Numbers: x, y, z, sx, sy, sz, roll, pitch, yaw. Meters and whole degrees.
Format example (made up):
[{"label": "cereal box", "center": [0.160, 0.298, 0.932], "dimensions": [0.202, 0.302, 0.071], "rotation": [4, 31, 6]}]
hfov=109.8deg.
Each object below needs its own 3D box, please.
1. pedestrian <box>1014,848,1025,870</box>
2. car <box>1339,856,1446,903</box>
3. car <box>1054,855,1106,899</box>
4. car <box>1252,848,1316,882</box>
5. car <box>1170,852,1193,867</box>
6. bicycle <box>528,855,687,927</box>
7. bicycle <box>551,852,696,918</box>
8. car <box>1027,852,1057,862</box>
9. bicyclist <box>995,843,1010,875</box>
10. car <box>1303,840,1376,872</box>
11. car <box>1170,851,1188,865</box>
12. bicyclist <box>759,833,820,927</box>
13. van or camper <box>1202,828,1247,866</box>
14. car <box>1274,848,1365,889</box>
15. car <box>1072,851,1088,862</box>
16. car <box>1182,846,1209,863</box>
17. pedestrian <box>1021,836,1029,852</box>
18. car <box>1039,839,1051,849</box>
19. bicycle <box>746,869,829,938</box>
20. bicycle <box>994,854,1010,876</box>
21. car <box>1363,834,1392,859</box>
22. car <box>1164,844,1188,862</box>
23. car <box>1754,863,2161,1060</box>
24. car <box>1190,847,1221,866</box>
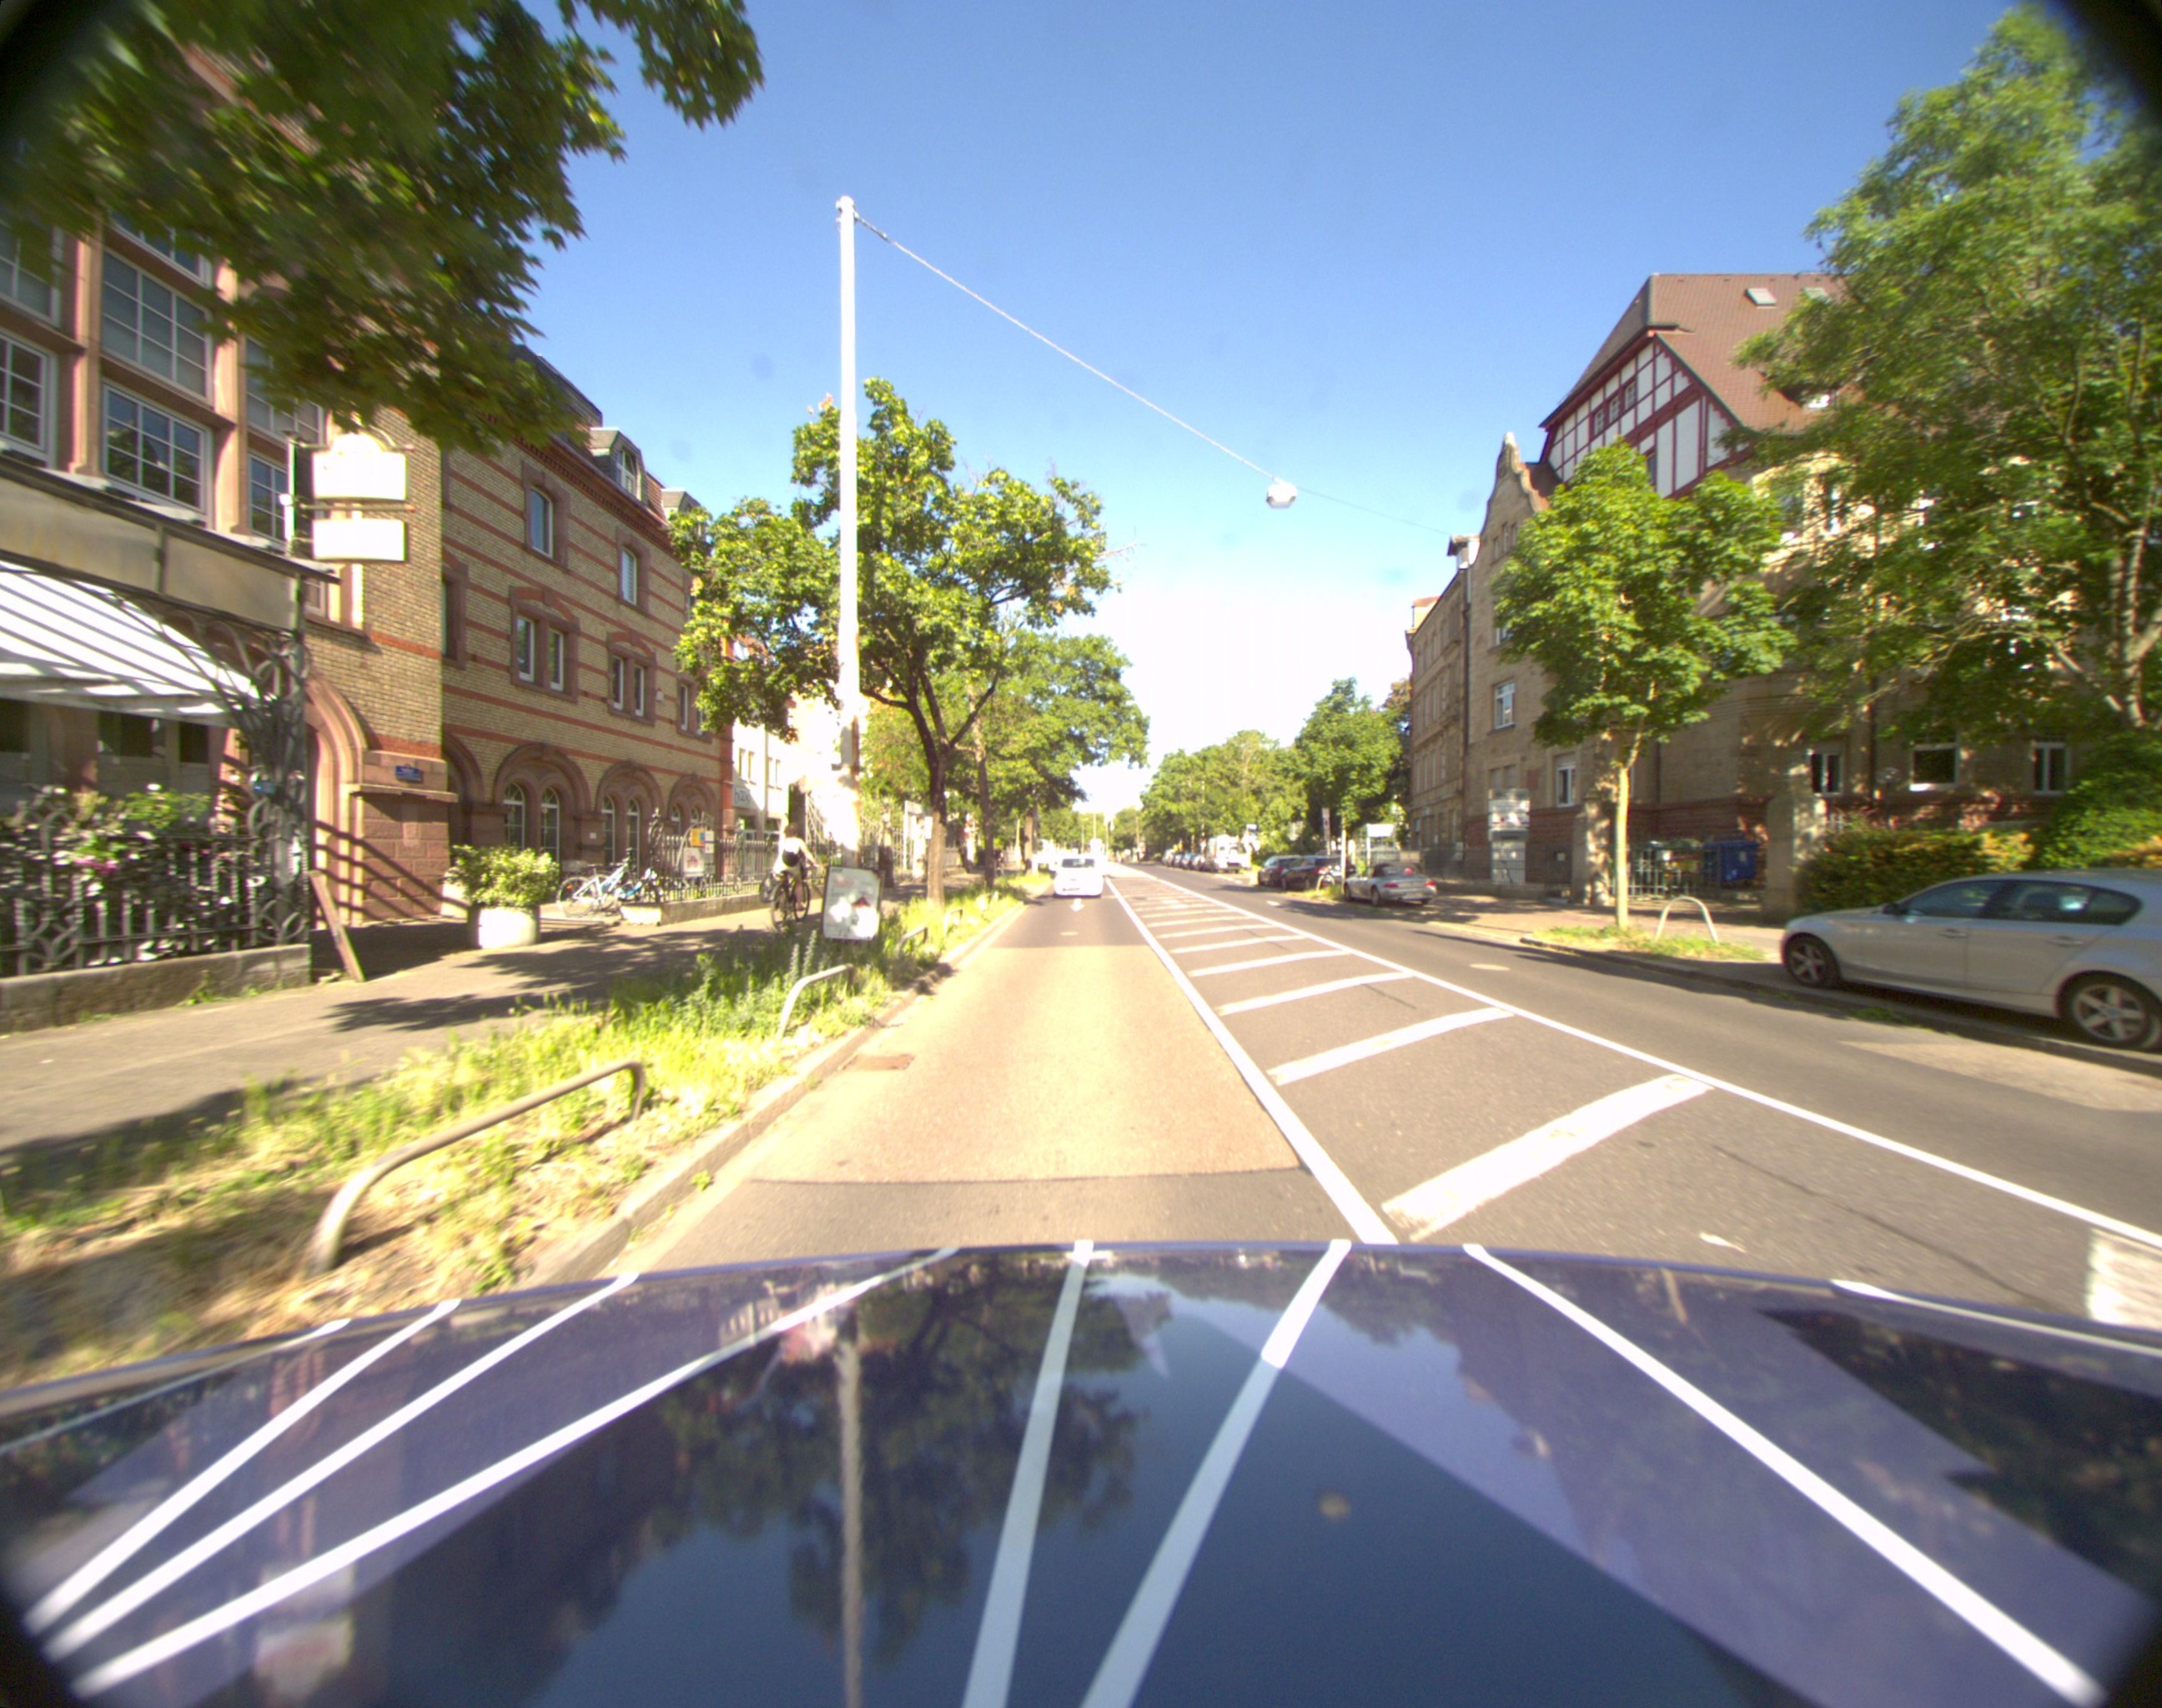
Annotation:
[{"label": "pedestrian", "center": [-5.092, 0.391, 63.382], "dimensions": [0.749, 1.777, 0.811], "rotation": [3, 1, 1]}, {"label": "car", "center": [9.340, 0.723, 23.143], "dimensions": [1.682, 1.248, 4.014], "rotation": [-1, 0, 1]}, {"label": "car", "center": [0.027, 0.758, 27.376], "dimensions": [1.652, 1.449, 3.897], "rotation": [0, 0, 3]}, {"label": "car", "center": [9.727, 0.497, 36.746], "dimensions": [1.860, 1.419, 4.720], "rotation": [-3, 0, 1]}, {"label": "car", "center": [10.561, 0.530, 79.797], "dimensions": [1.594, 1.474, 4.270], "rotation": [2, 1, -3]}, {"label": "bicycle", "center": [-7.989, 0.610, 12.906], "dimensions": [2.202, 1.172, 0.687], "rotation": [0, 2, -6]}, {"label": "bicycle", "center": [-8.448, 0.559, 14.106], "dimensions": [2.202, 1.172, 0.687], "rotation": [0, 2, -6]}, {"label": "car", "center": [-5.931, 0.384, 115.925], "dimensions": [4.417, 1.409, 2.047], "rotation": [1, 0, 1]}, {"label": "bicyclist", "center": [-4.349, 0.269, 42.025], "dimensions": [0.647, 1.685, 0.889], "rotation": [3, 0, 1]}, {"label": "car", "center": [15.715, 0.119, 46.140], "dimensions": [4.150, 1.660, 1.996], "rotation": [-3, 0, -33]}, {"label": "car", "center": [11.048, 0.410, 85.954], "dimensions": [1.467, 1.493, 3.958], "rotation": [2, 1, 0]}, {"label": "bicyclist", "center": [-5.070, 0.431, 13.276], "dimensions": [0.702, 1.590, 0.954], "rotation": [0, 2, -1]}, {"label": "van or camper", "center": [10.774, -0.506, 57.587], "dimensions": [2.222, 2.723, 6.088], "rotation": [0, 0, 0]}, {"label": "car", "center": [9.635, 0.543, 31.137], "dimensions": [1.861, 1.485, 4.703], "rotation": [-3, 1, -4]}, {"label": "car", "center": [-0.164, 0.379, 117.661], "dimensions": [1.924, 1.411, 4.223], "rotation": [-7, 1, -4]}, {"label": "car", "center": [10.162, 0.031, 67.684], "dimensions": [1.785, 1.405, 4.405], "rotation": [2, 0, 0]}, {"label": "pedestrian", "center": [-5.947, -1.030, 80.657], "dimensions": [0.696, 1.649, 0.820], "rotation": [3, 1, -1]}, {"label": "car", "center": [-6.071, -1.648, 126.450], "dimensions": [1.847, 1.432, 4.104], "rotation": [3, 0, -4]}, {"label": "bicycle", "center": [-5.056, 0.811, 13.234], "dimensions": [0.687, 1.022, 2.095], "rotation": [0, 1, -2]}, {"label": "bicycle", "center": [-4.368, 0.601, 42.094], "dimensions": [0.654, 1.169, 1.843], "rotation": [4, 0, 1]}, {"label": "car", "center": [23.975, -0.647, 61.317], "dimensions": [1.860, 1.903, 4.458], "rotation": [2, 2, 25]}, {"label": "car", "center": [11.321, -0.083, 90.833], "dimensions": [1.989, 2.024, 4.873], "rotation": [2, 0, -4]}, {"label": "car", "center": [9.111, 0.836, 7.309], "dimensions": [1.692, 1.375, 4.191], "rotation": [-2, 0, 3]}, {"label": "car", "center": [10.310, 0.206, 63.312], "dimensions": [1.698, 1.448, 4.662], "rotation": [2, 0, -1]}]
